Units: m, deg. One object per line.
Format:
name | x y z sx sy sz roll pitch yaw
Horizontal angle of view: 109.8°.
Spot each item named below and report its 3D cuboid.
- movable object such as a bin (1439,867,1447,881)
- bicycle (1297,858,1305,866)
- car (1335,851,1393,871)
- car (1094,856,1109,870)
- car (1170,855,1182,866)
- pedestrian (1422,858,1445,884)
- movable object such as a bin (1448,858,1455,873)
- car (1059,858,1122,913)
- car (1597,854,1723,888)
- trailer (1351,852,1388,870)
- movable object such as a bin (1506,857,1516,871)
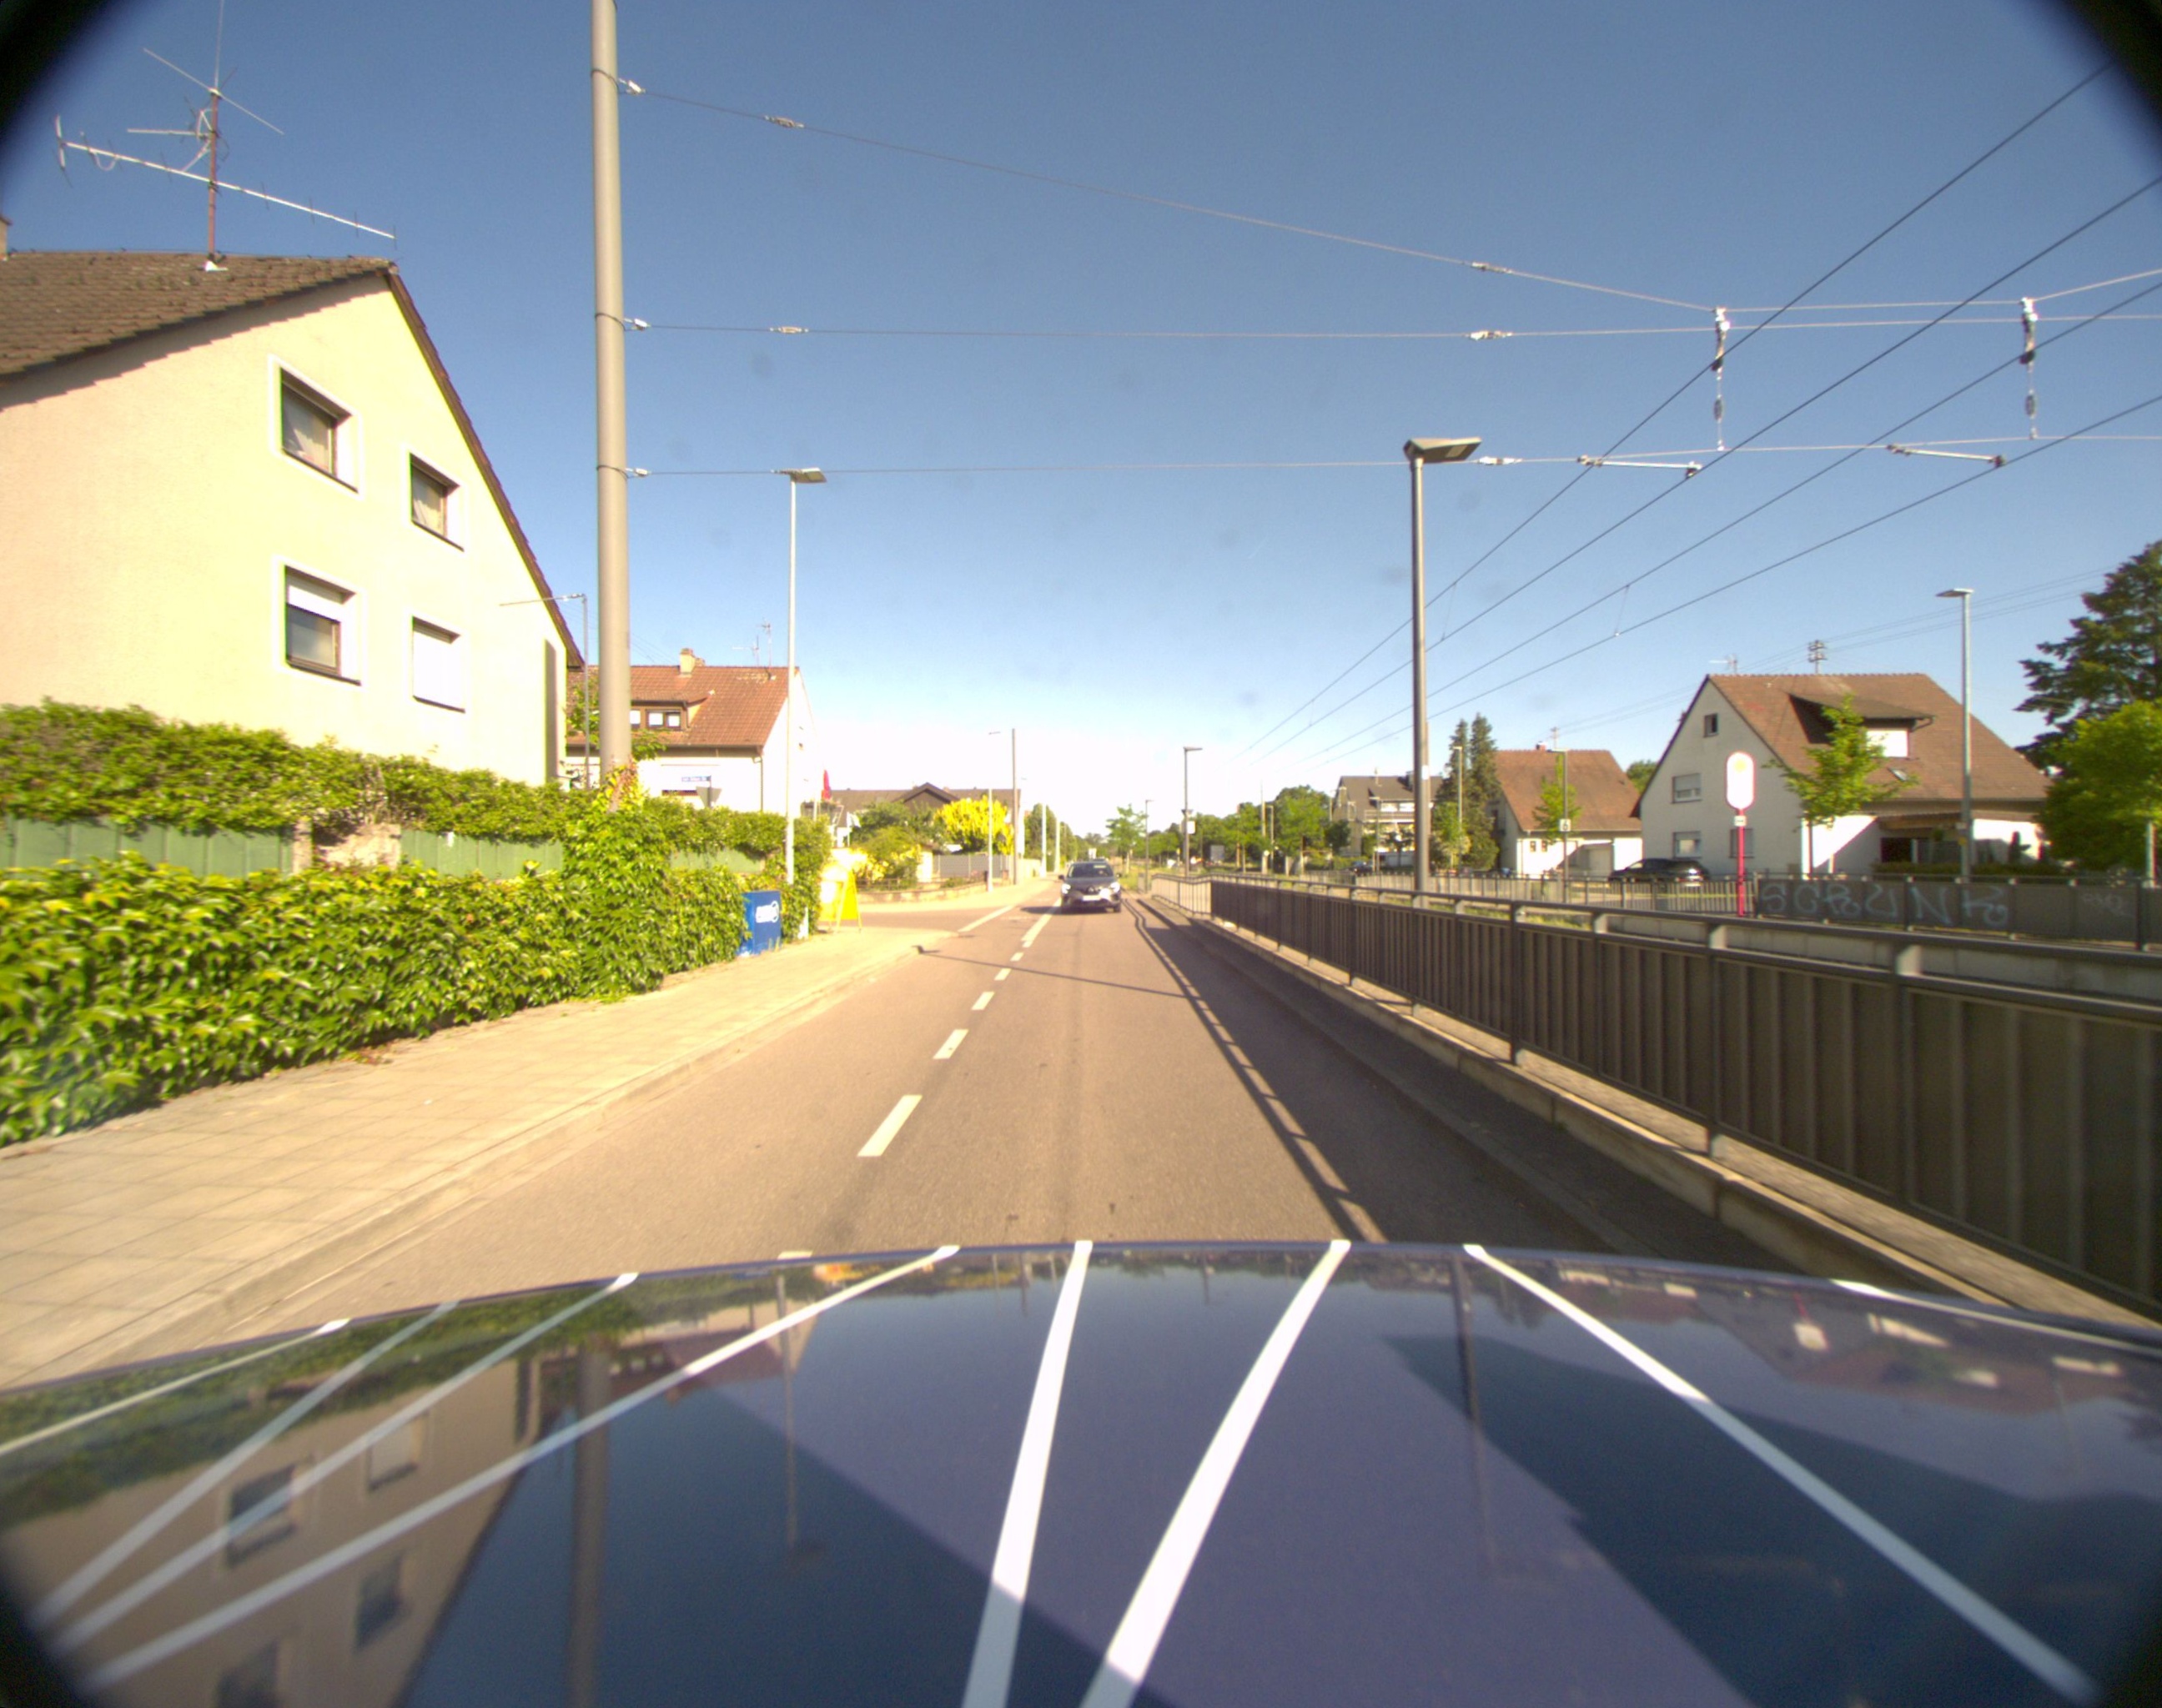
movable object such as a bin | 24.079 1.323 50.477 0.326 0.964 0.350 -2 1 -3
bicycle | 24.796 0.889 85.795 0.424 0.936 1.748 -2 1 1
car | 25.642 0.611 68.954 4.556 1.724 2.051 0 0 -11
car | 2.961 1.243 109.909 1.998 1.824 4.000 -2 1 2
car | 18.148 1.240 145.841 1.902 1.903 4.703 0 0 2
pedestrian | 22.670 1.099 48.848 0.967 1.631 1.086 -1 0 1
movable object such as a bin | 24.575 0.746 50.388 0.299 0.960 0.333 -2 1 -3
car | 0.263 0.973 24.968 1.867 1.614 4.000 -1 0 -1
car | 26.402 0.720 34.916 1.939 1.441 5.163 -1 0 1
trailer | 27.049 0.639 71.209 2.921 1.638 1.398 -1 0 -2
movable object such as a bin | 28.492 0.684 50.298 0.371 0.892 0.452 -2 1 -3
